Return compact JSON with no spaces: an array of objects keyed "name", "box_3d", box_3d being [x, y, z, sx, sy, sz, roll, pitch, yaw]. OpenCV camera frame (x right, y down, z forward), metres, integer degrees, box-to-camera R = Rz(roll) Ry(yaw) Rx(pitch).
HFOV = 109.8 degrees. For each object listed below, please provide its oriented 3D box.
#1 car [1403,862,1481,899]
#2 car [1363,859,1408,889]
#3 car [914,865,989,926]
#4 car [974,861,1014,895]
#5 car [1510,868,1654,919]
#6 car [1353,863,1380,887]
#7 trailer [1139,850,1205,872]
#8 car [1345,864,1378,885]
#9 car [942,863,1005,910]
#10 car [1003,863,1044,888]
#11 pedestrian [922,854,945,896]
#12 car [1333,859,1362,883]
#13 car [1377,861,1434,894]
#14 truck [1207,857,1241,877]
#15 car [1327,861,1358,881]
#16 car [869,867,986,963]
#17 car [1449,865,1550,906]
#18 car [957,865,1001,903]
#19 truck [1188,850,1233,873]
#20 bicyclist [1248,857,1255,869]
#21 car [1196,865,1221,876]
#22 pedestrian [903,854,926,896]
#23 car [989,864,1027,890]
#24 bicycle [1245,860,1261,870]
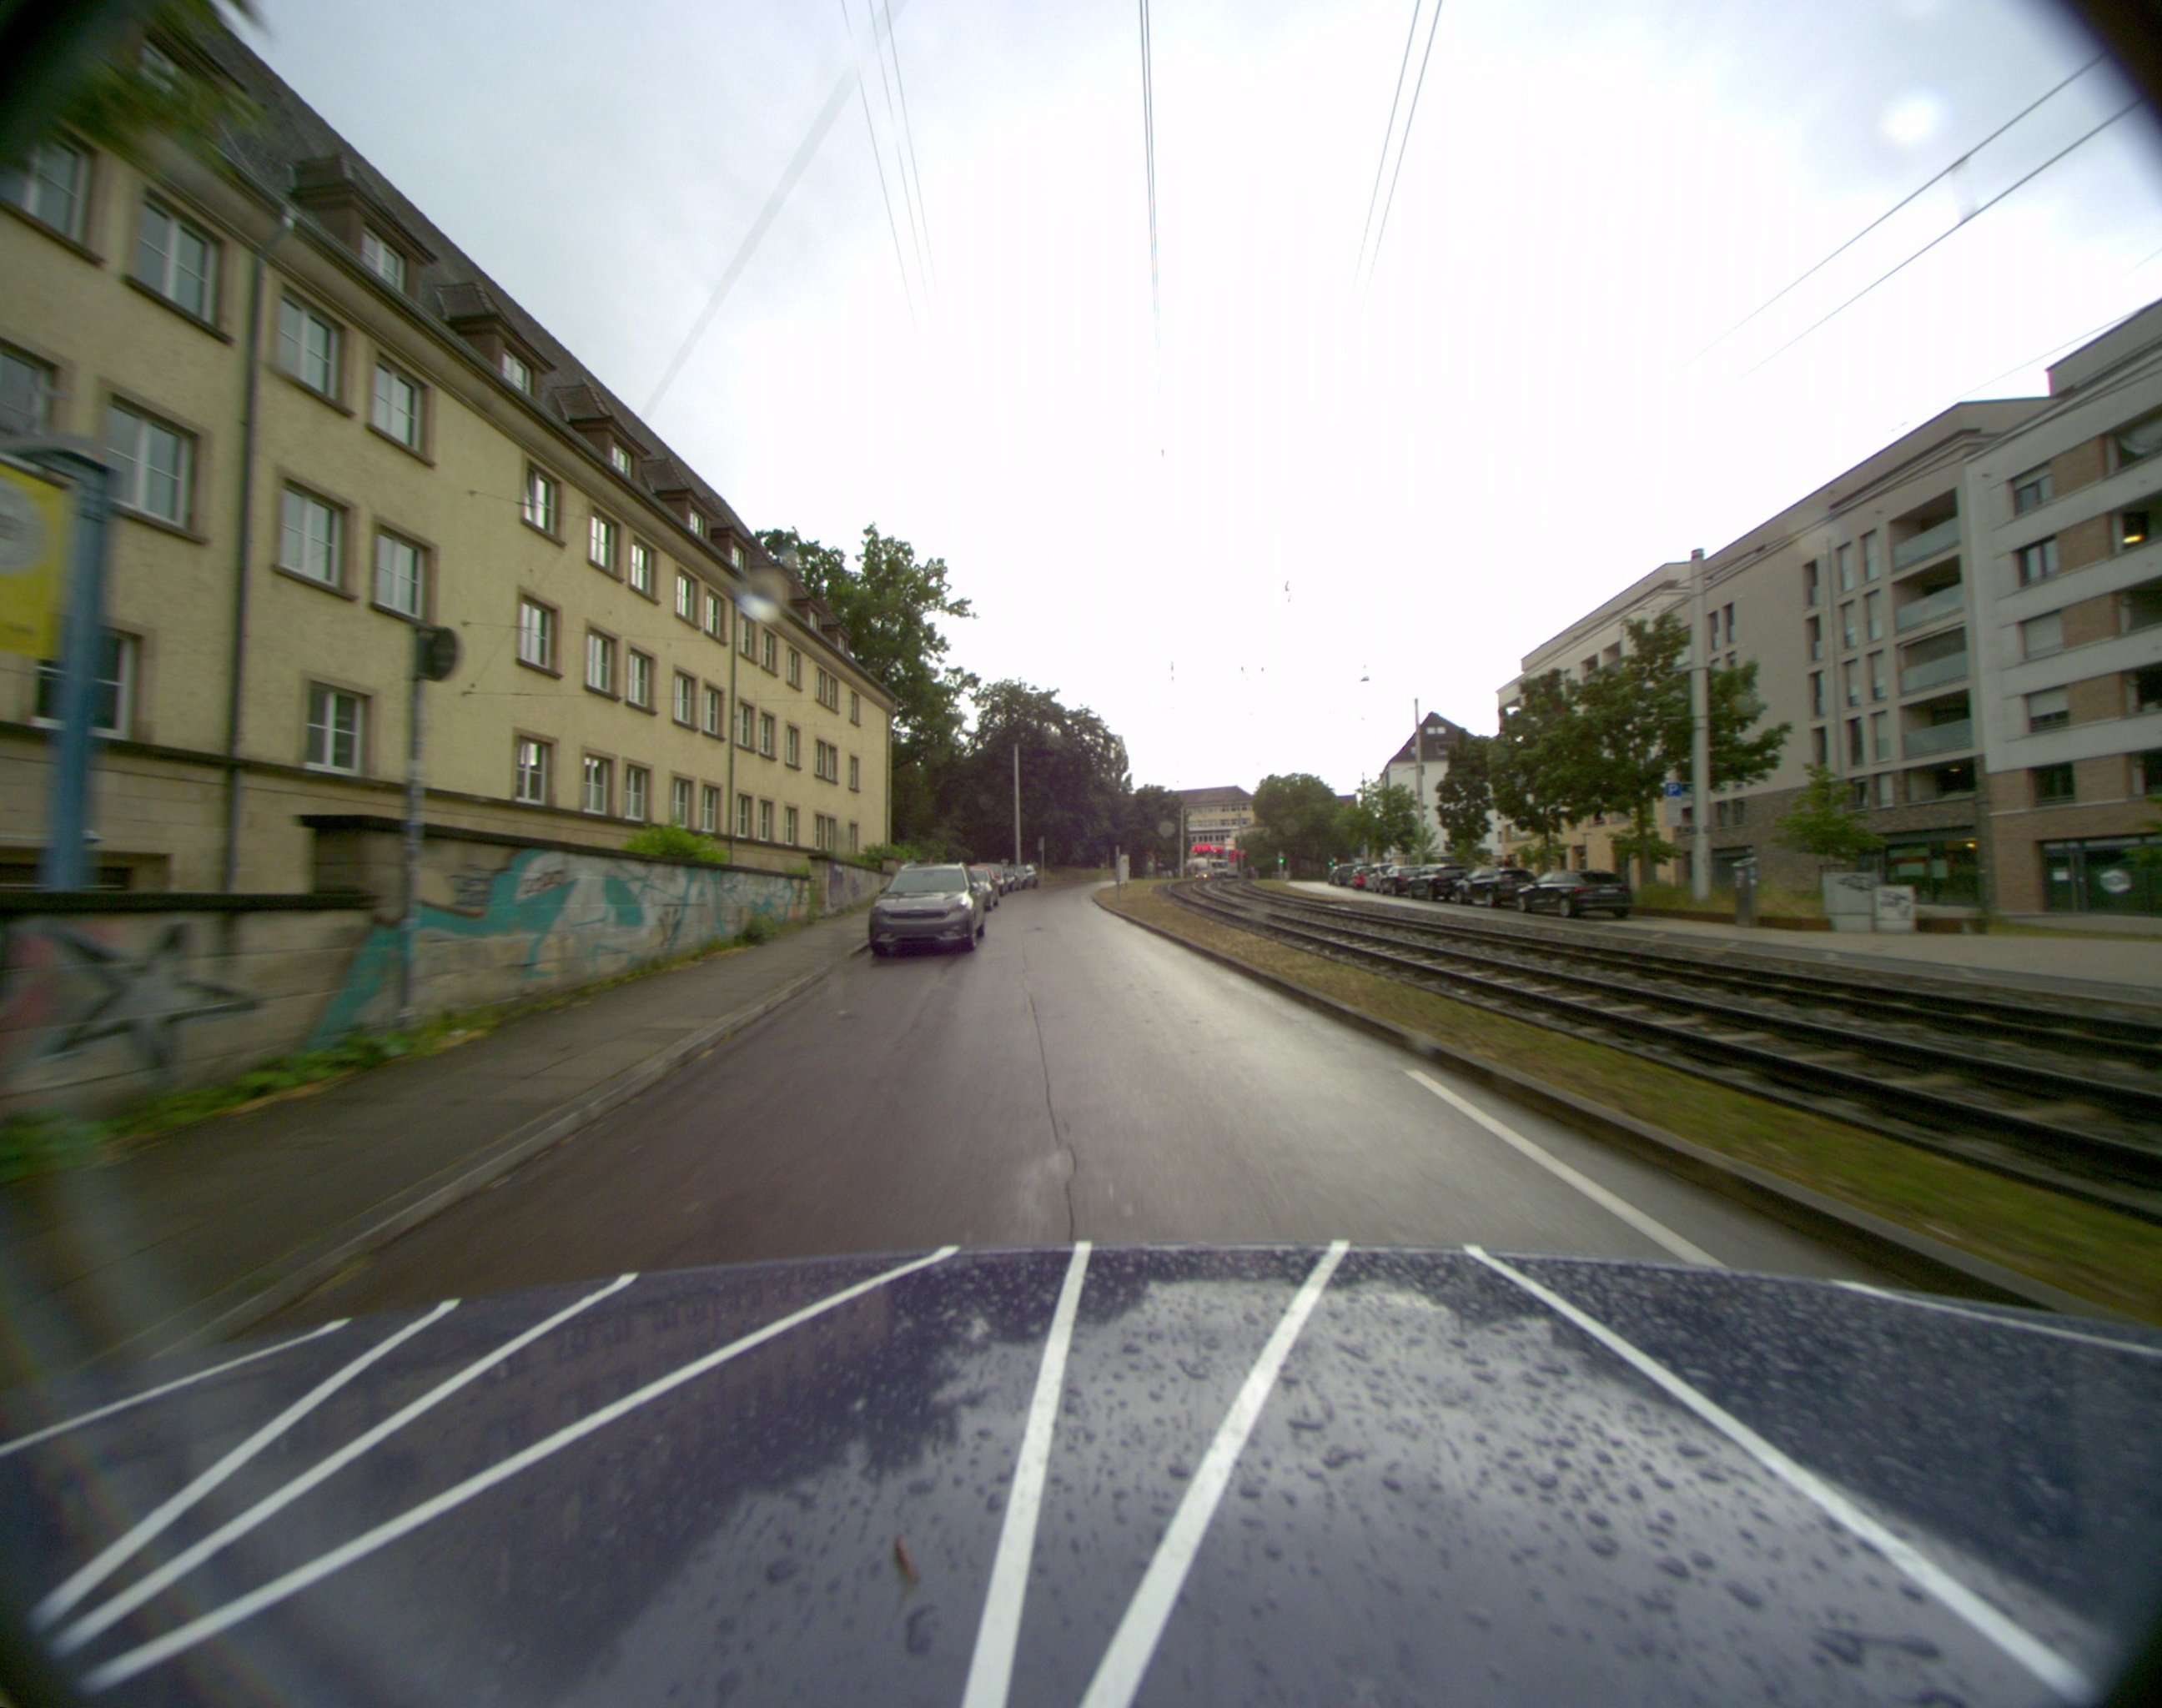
[{"name":"car","box_3d":[16.486,1.176,34.945,1.806,1.574,4.701,-1,-1,6]},{"name":"car","box_3d":[18.458,1.189,46.237,1.666,1.737,4.261,0,-1,9]},{"name":"car","box_3d":[-3.483,1.071,21.061,1.670,1.467,4.107,1,-1,-5]},{"name":"car","box_3d":[-4.267,1.148,37.687,1.670,1.564,3.855,1,0,-2]},{"name":"car","box_3d":[15.652,1.185,24.054,1.970,1.422,4.201,-1,-1,4]},{"name":"car","box_3d":[19.083,1.379,50.897,1.471,1.522,2.935,0,-1,16]},{"name":"trailer","box_3d":[14.201,1.164,118.545,9.811,3.375,2.819,0,-1,24]},{"name":"car","box_3d":[20.360,1.483,55.267,1.553,1.438,4.404,-1,-1,12]},{"name":"car","box_3d":[-3.680,1.065,26.694,1.670,1.467,4.457,1,-1,-2]},{"name":"car","box_3d":[-3.533,1.297,47.224,1.599,1.457,2.725,1,-1,19]},{"name":"pedestrian","box_3d":[-6.205,0.883,32.037,0.719,1.744,0.739,1,0,7]},{"name":"car","box_3d":[21.154,1.329,60.465,1.584,1.848,4.337,-2,-1,12]},{"name":"car","box_3d":[17.227,1.206,40.562,1.735,1.634,4.535,-1,-1,9]},{"name":"truck","box_3d":[26.963,2.486,142.913,2.655,3.547,10.278,0,-1,33]},{"name":"car","box_3d":[22.421,1.441,65.180,1.996,1.595,4.219,-1,-1,12]},{"name":"car","box_3d":[-2.777,1.039,14.552,1.670,1.515,4.107,-1,0,-4]},{"name":"car","box_3d":[16.371,1.178,29.957,1.741,1.480,4.258,-1,-1,2]},{"name":"car","box_3d":[-4.252,1.201,32.092,1.670,1.468,4.064,-1,0,-6]},{"name":"truck","box_3d":[19.710,1.191,115.838,6.109,3.379,2.843,0,-1,28]},{"name":"bicyclist","box_3d":[19.193,0.993,85.510,0.799,1.287,0.595,0,2,7]},{"name":"car","box_3d":[16.820,2.173,100.388,1.885,1.482,3.857,0,0,32]},{"name":"pedestrian","box_3d":[-7.028,0.864,32.098,0.719,1.744,0.739,1,0,7]},{"name":"car","box_3d":[-4.127,1.287,43.269,1.539,1.408,3.645,1,-1,4]},{"name":"bicycle","box_3d":[19.319,1.279,85.489,1.709,1.133,0.626,0,0,8]}]
